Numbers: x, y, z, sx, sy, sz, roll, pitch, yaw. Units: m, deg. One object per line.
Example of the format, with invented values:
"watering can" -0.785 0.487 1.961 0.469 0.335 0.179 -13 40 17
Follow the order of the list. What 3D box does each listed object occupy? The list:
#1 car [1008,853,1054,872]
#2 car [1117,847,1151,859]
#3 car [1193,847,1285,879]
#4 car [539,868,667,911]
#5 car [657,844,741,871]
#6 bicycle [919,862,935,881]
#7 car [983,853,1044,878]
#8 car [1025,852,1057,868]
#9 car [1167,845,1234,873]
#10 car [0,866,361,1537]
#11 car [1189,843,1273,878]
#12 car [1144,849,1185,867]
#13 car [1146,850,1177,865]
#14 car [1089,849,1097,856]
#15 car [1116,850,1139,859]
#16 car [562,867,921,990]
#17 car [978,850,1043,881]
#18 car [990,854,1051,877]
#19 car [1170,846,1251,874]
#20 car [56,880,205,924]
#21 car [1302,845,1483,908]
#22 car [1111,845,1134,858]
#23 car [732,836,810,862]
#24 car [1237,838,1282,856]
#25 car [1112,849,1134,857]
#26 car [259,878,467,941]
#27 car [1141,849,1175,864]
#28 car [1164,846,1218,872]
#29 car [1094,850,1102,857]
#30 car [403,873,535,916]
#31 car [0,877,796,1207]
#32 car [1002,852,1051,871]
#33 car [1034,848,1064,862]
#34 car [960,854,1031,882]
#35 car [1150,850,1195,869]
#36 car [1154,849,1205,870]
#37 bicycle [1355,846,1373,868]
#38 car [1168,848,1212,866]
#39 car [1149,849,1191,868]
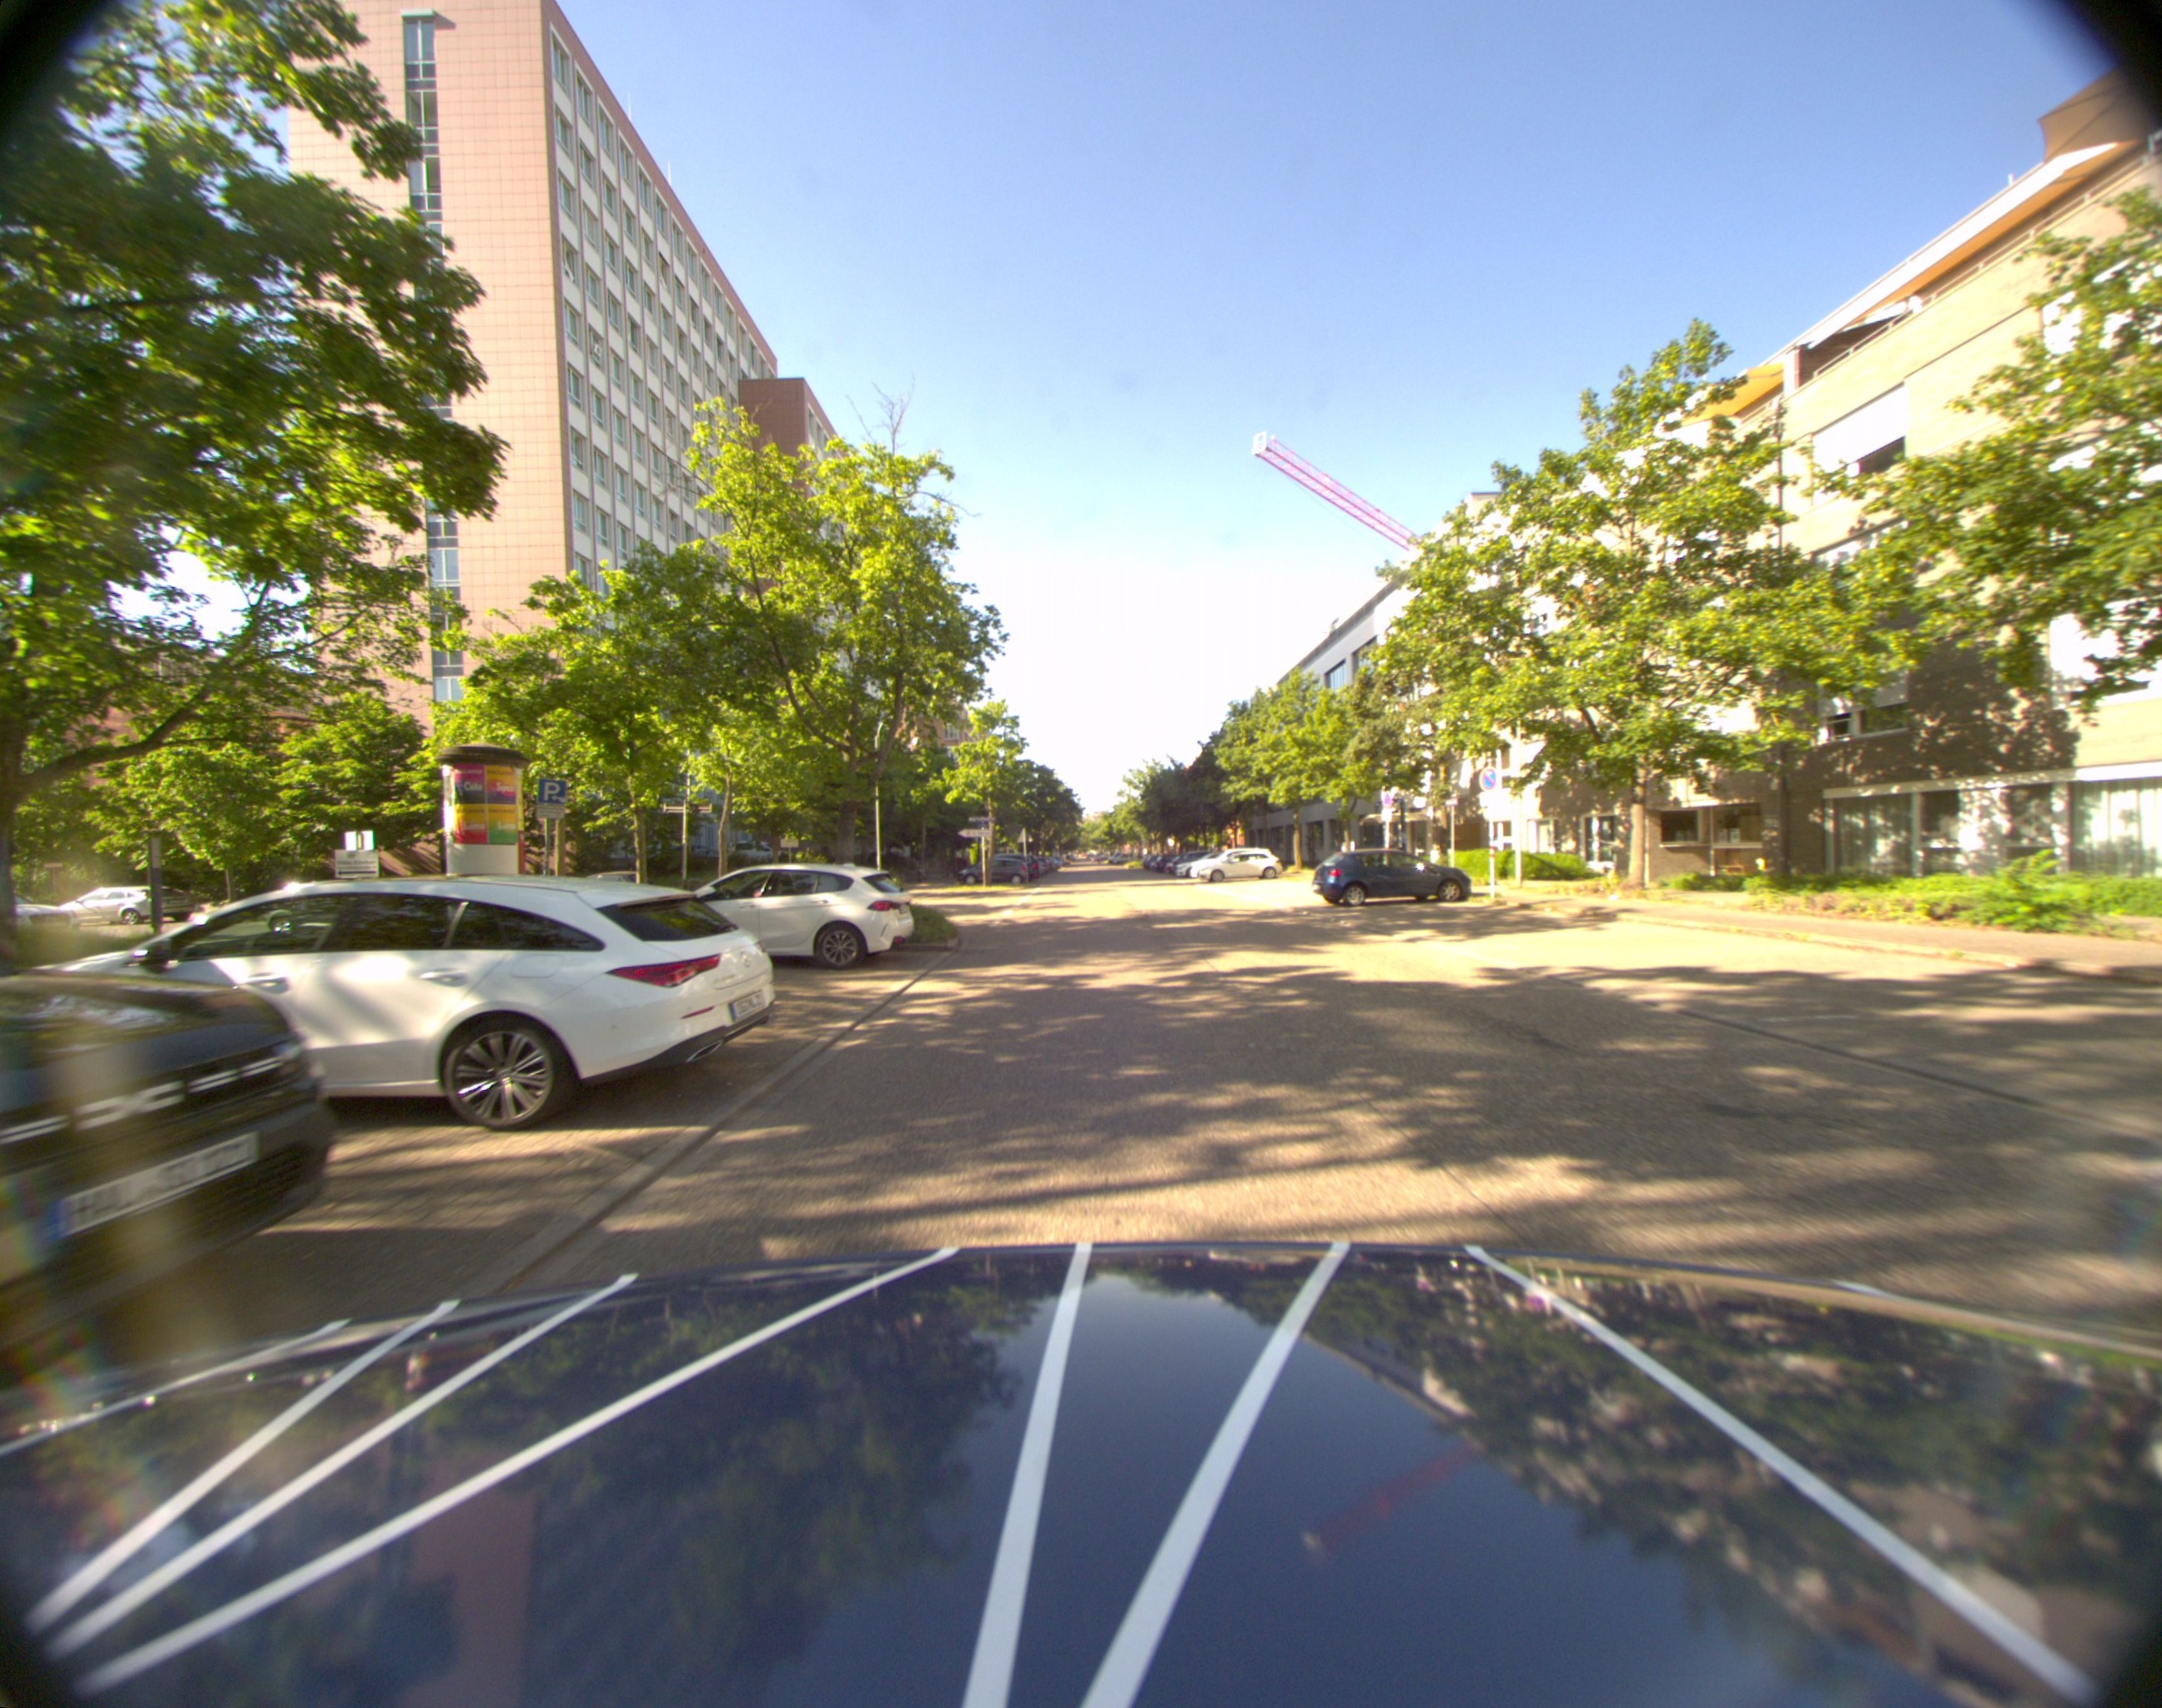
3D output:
"car" -3.988 0.672 61.145 3.582 1.498 1.724 0 1 -1
"car" 8.338 -0.153 120.741 5.252 1.616 1.953 -2 1 2
"car" 8.049 0.445 38.912 4.269 1.471 1.800 -2 0 -1
"car" -19.273 1.406 30.779 3.997 1.440 1.769 -2 2 1
"car" -23.431 0.185 46.761 4.237 1.498 1.723 -2 1 -6
"bicycle" -8.771 1.006 43.325 0.302 0.987 1.957 -2 1 4
"car" -4.417 0.752 49.696 3.881 1.556 1.808 0 1 -5
"car" -4.035 0.585 77.375 3.053 1.595 1.604 0 1 3
"car" 7.817 0.347 50.004 4.122 1.611 1.803 -3 1 2
"car" -4.718 0.870 1.863 4.129 1.609 1.733 0 2 -2
"car" 8.228 0.341 41.934 4.236 1.593 1.952 -3 1 1
"car" 7.881 0.386 71.892 3.539 1.497 1.646 -2 1 -1
"car" 8.114 0.329 76.503 2.933 1.435 1.389 -2 1 0
"car" 3.140 -0.426 199.820 1.951 1.617 4.000 -2 0 3
"car" 8.093 0.056 132.849 3.968 1.463 1.953 -2 1 2
"car" -4.747 1.027 11.146 4.438 1.584 1.836 0 1 -2
"car" -4.179 0.668 45.328 3.681 1.741 1.724 0 1 2
"car" -4.516 0.838 57.277 4.431 1.544 1.859 -2 1 -1
"car" 7.973 0.378 46.960 4.521 1.443 1.940 -3 0 -4
"car" -38.022 1.888 30.461 3.769 1.485 1.710 -2 1 1
"car" 8.136 0.551 20.047 3.998 1.403 1.816 -2 1 -3
"car" 7.632 -0.467 140.123 3.997 2.094 1.999 -2 1 -2
"car" -21.939 -0.359 53.915 4.729 1.676 1.875 -2 1 -4
"car" 23.235 -0.950 99.112 5.329 2.087 1.932 -2 1 -2
"car" 8.009 -0.233 145.432 3.998 1.406 1.594 -2 1 -2
"car" -20.061 1.514 21.367 3.997 1.521 1.834 -2 0 -1
"car" 8.699 0.249 86.400 3.630 1.499 1.617 -2 1 -2
"car" 7.883 0.365 54.582 3.581 1.658 1.655 -3 1 3
"car" 3.884 -0.164 171.549 1.766 1.365 4.000 -2 0 3
"car" -24.353 1.578 30.326 3.854 1.461 1.650 -2 1 0
"car" -4.473 1.050 4.973 4.454 1.536 1.817 -2 1 -1
"car" -4.570 0.623 64.029 3.983 1.540 1.683 -2 1 -4
"car" -4.513 0.135 107.423 4.165 1.696 1.999 -2 1 -2
"car" -4.778 0.791 42.699 3.845 1.438 1.592 1 -1 -3
"car" 7.805 0.442 64.760 3.539 1.428 1.657 -2 1 -1
"car" 7.944 0.444 61.450 3.832 1.405 1.687 -3 -1 -1
"bicycle" 16.016 0.151 43.013 0.338 1.168 1.627 -2 1 0
"car" 9.642 0.265 67.428 3.539 1.437 1.657 -2 1 -3
"car" 8.094 0.391 69.387 3.527 1.520 1.657 -2 1 -1
